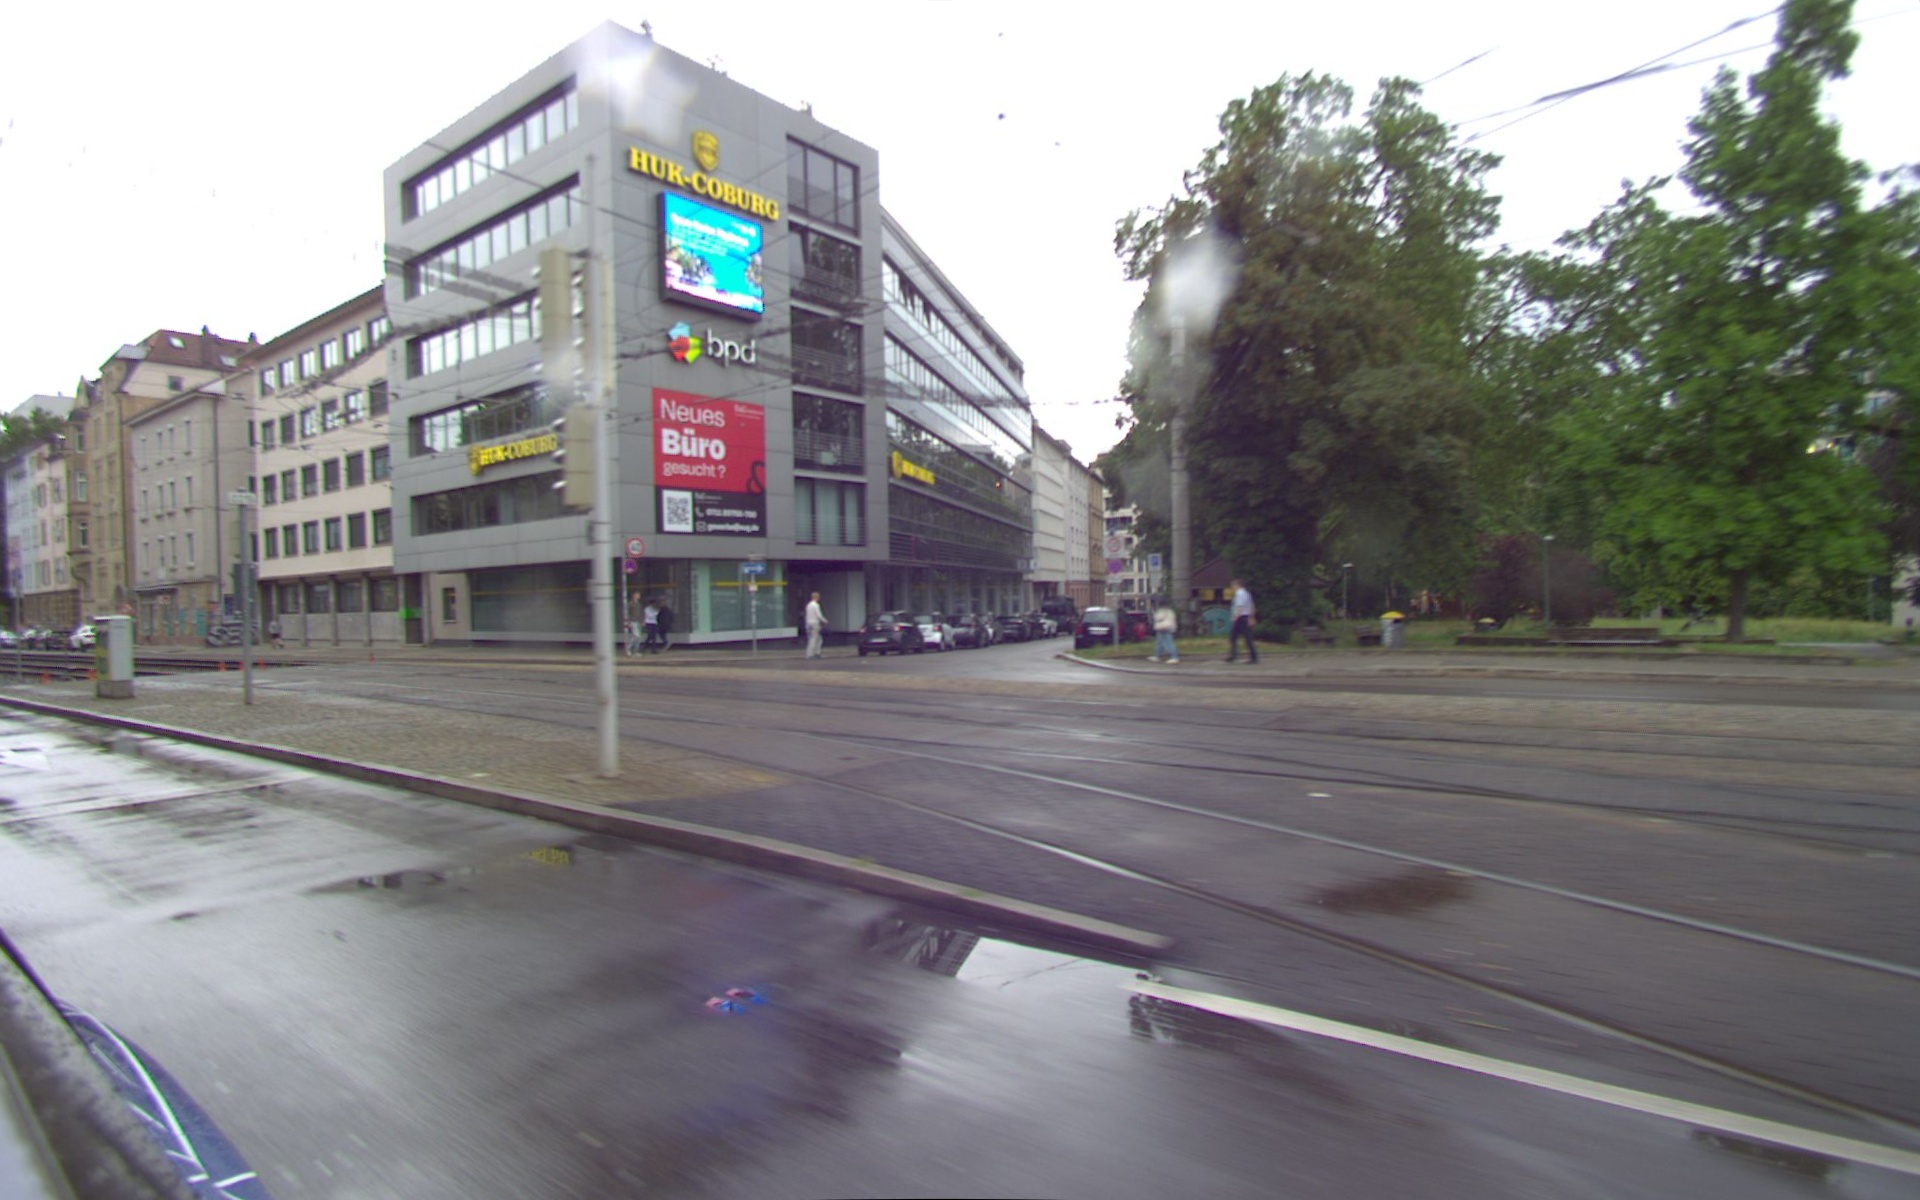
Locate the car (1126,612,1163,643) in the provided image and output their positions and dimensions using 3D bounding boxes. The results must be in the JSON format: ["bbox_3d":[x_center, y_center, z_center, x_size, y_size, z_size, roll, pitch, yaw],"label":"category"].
[{"bbox_3d":[9.244,1.373,50.586,1.685,1.459,3.526,-1,-1,12],"label":"car"}]

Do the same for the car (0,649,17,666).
[{"bbox_3d":[-79.635,4.763,83.649,4.259,1.408,1.821,-2,-2,37],"label":"car"}]

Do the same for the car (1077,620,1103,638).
[{"bbox_3d":[10.970,2.437,85.201,1.686,1.401,3.523,-2,-2,14],"label":"car"}]

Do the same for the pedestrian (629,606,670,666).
[{"bbox_3d":[-9.752,1.123,31.784,0.962,1.829,0.661,-3,1,7],"label":"pedestrian"}]

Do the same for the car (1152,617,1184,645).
[{"bbox_3d":[11.554,1.716,56.145,1.685,1.459,3.526,-1,-2,12],"label":"car"}]

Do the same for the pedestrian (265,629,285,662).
[{"bbox_3d":[-35.393,2.354,52.285,0.798,1.624,0.541,-2,2,41],"label":"pedestrian"}]

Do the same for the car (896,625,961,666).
[{"bbox_3d":[-1.171,1.711,39.037,1.685,1.465,3.728,-1,-2,11],"label":"car"}]

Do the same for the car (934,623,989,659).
[{"bbox_3d":[0.111,1.726,43.364,1.685,1.465,3.728,-1,-2,11],"label":"car"}]

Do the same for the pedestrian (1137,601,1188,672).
[{"bbox_3d":[4.852,0.859,24.213,0.908,1.606,0.995,-2,1,26],"label":"pedestrian"}]

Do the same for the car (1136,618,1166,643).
[{"bbox_3d":[11.660,1.833,61.635,1.685,1.459,3.526,-1,-2,12],"label":"car"}]

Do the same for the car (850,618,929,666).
[{"bbox_3d":[-2.378,1.418,35.124,1.686,1.562,3.724,-1,-2,14],"label":"car"}]

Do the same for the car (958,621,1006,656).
[{"bbox_3d":[1.082,1.826,48.317,1.685,1.567,3.527,-1,-2,11],"label":"car"}]

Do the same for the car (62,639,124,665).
[{"bbox_3d":[-53.958,3.248,62.960,4.743,1.548,1.974,-2,-4,38],"label":"car"}]

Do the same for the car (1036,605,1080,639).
[{"bbox_3d":[6.864,1.562,70.403,2.310,2.237,5.046,-1,-2,14],"label":"car"}]

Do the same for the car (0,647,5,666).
[{"bbox_3d":[-84.189,4.867,87.446,4.221,1.617,1.821,-2,-2,37],"label":"car"}]

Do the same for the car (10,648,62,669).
[{"bbox_3d":[-67.215,4.225,73.562,5.015,1.467,1.974,-2,-4,38],"label":"car"}]

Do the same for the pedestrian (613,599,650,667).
[{"bbox_3d":[-10.078,1.005,31.065,0.809,2.028,0.655,-2,1,38],"label":"pedestrian"}]

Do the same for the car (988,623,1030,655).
[{"bbox_3d":[2.558,1.971,52.263,1.684,1.567,3.527,-1,-2,11],"label":"car"}]

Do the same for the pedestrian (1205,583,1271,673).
[{"bbox_3d":[6.104,0.591,22.240,0.986,1.876,0.916,-3,1,-19],"label":"pedestrian"}]

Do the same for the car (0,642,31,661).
[{"bbox_3d":[-75.609,4.090,80.380,5.017,1.408,1.974,-3,-4,39],"label":"car"}]

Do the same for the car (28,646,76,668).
[{"bbox_3d":[-63.043,3.960,70.250,4.165,1.467,1.719,-2,-4,38],"label":"car"}]

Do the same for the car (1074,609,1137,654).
[{"bbox_3d":[5.074,1.069,34.961,1.687,1.459,3.521,-2,-2,16],"label":"car"}]

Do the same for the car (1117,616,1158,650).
[{"bbox_3d":[8.065,1.463,45.793,1.685,1.459,3.526,-1,-2,12],"label":"car"}]

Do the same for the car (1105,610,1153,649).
[{"bbox_3d":[6.753,1.166,40.304,1.685,1.459,3.526,-1,-2,12],"label":"car"}]

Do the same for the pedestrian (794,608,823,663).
[{"bbox_3d":[-4.560,1.054,30.464,0.579,1.606,0.637,-3,1,-34],"label":"pedestrian"}]

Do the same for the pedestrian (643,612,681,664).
[{"bbox_3d":[-9.582,1.226,32.599,0.587,1.606,0.956,-2,1,33],"label":"pedestrian"}]

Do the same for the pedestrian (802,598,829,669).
[{"bbox_3d":[-4.290,0.976,29.981,0.608,2.028,0.663,-3,1,0],"label":"pedestrian"}]

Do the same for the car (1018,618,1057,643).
[{"bbox_3d":[4.787,1.876,62.059,1.687,1.459,3.521,-2,-2,16],"label":"car"}]
